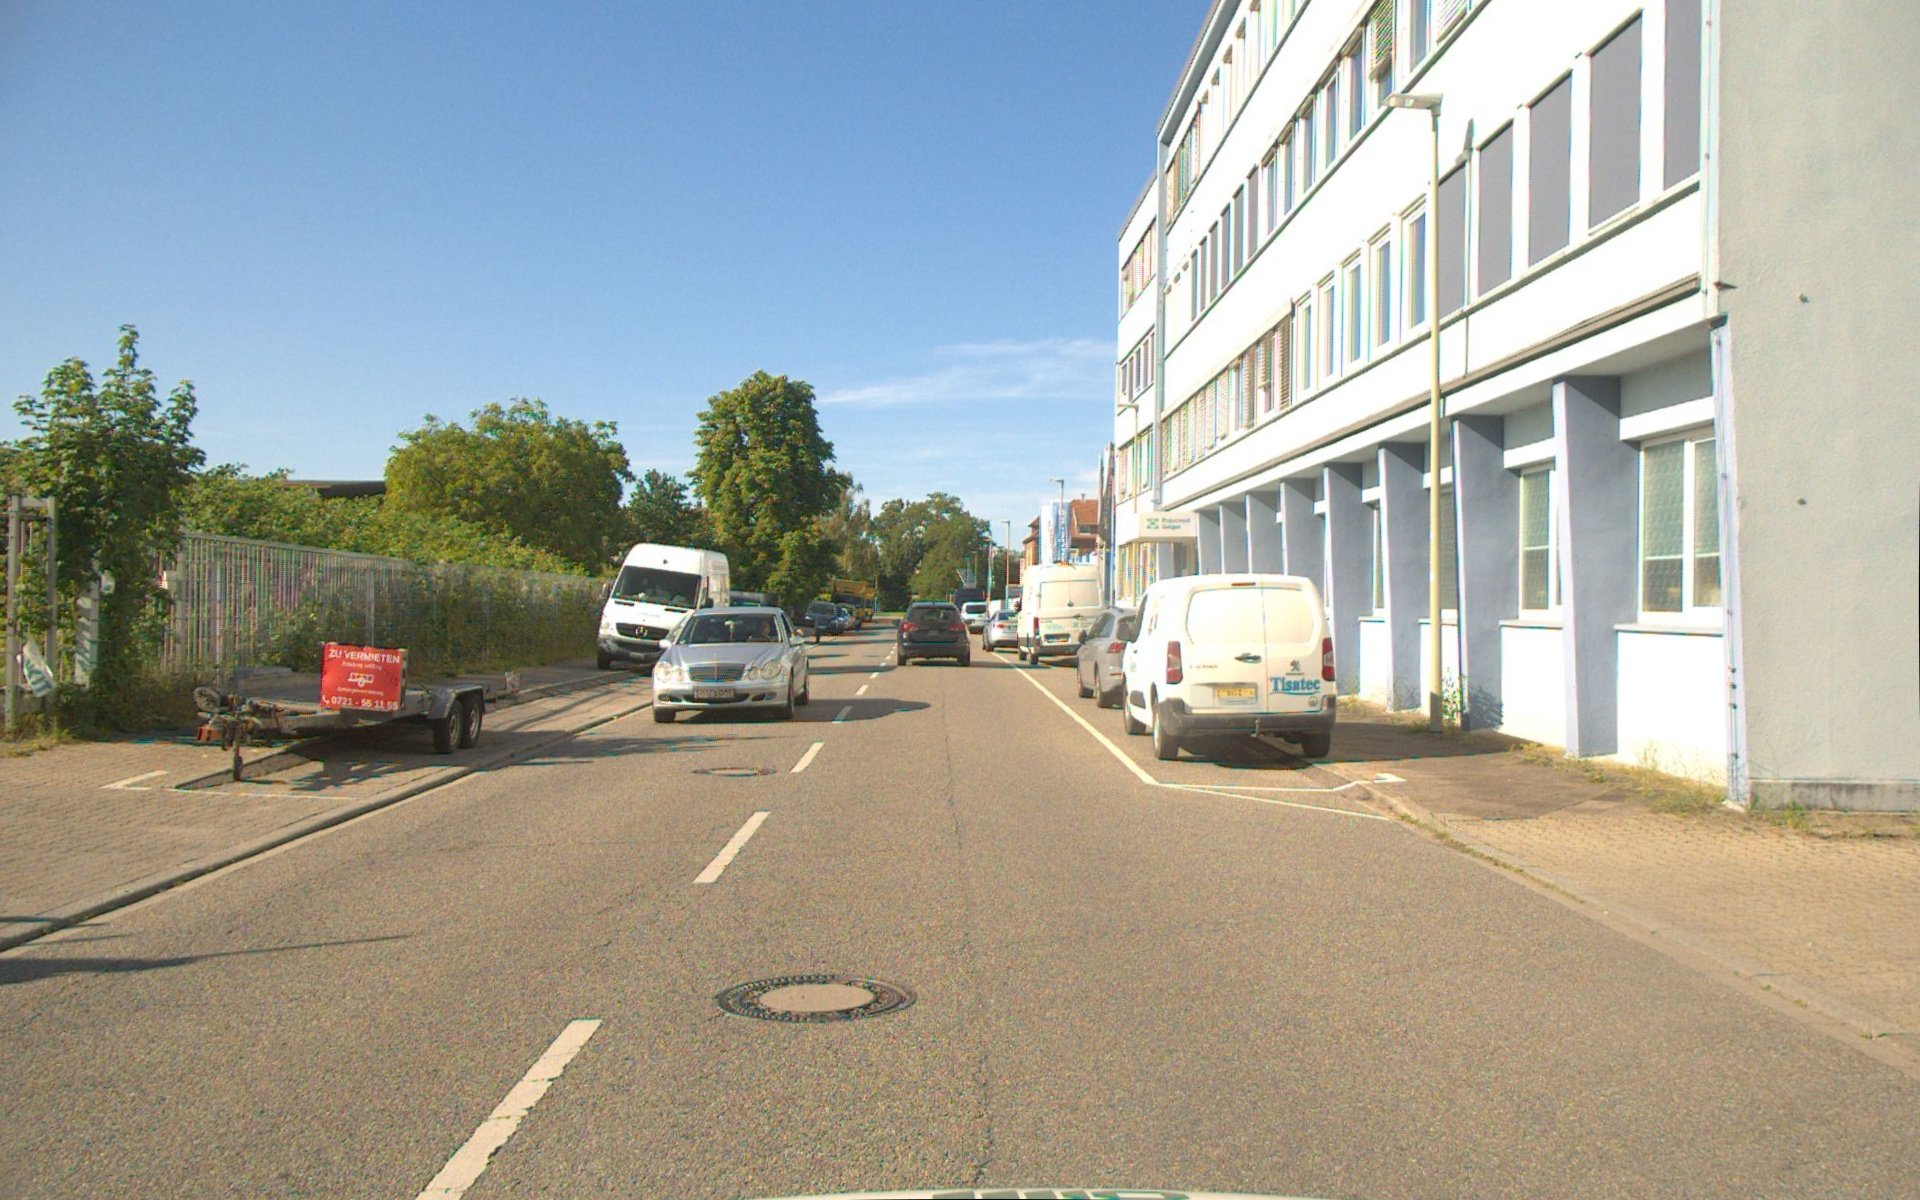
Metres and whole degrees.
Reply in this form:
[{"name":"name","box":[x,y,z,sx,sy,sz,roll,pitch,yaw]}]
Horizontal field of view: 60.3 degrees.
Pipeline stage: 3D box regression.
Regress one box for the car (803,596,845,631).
[{"name":"car","box":[-7.127,0.686,87.099,1.755,1.761,4.802,0,0,0]}]

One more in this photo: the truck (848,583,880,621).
[{"name":"truck","box":[-9.988,0.142,172.336,2.579,3.564,8.655,6,1,-1]}]

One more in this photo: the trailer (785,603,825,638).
[{"name":"trailer","box":[-6.516,0.865,69.732,1.447,1.378,3.077,2,0,-1]}]

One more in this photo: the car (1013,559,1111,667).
[{"name":"car","box":[2.645,0.289,44.217,1.953,2.643,6.048,-1,1,-2]}]

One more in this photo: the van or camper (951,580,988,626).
[{"name":"van or camper","box":[0.597,0.235,106.440,2.097,2.808,6.159,2,-1,-1]}]

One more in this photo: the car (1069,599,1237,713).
[{"name":"car","box":[2.911,0.796,26.002,1.851,1.588,5.088,1,0,-2]}]

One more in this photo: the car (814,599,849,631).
[{"name":"car","box":[-7.653,0.861,98.578,1.871,1.691,4.460,5,0,-4]}]

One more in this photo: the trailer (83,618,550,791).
[{"name":"trailer","box":[-6.017,0.888,16.620,2.328,1.098,6.244,4,1,-2]}]

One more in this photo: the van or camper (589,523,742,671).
[{"name":"van or camper","box":[-6.190,-0.053,35.550,1.926,2.731,5.947,5,0,0]}]

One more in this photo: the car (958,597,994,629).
[{"name":"car","box":[0.947,0.802,100.002,1.848,1.829,5.101,2,-1,-2]}]

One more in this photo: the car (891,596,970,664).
[{"name":"car","box":[-0.694,0.689,40.137,1.809,1.557,3.999,0,0,-1]}]

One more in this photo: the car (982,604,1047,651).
[{"name":"car","box":[1.783,0.914,55.668,1.856,1.430,5.122,2,-1,-2]}]

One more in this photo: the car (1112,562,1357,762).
[{"name":"car","box":[2.846,0.596,18.291,1.850,1.864,5.090,1,0,0]}]

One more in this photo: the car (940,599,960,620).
[{"name":"car","box":[-1.014,0.985,166.470,1.836,2.049,5.159,2,-1,-1]}]

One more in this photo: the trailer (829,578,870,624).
[{"name":"trailer","box":[-8.548,0.099,128.771,2.931,3.503,8.157,1,0,-3]}]

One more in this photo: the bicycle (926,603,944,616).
[{"name":"bicycle","box":[-2.693,1.054,179.123,0.797,1.290,2.230,3,-1,-36]}]

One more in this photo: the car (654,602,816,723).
[{"name":"car","box":[-2.989,0.778,22.743,1.711,1.473,4.359,0,0,-1]}]

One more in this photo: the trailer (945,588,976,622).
[{"name":"trailer","box":[0.021,0.429,136.450,2.410,2.719,5.699,1,0,-2]}]

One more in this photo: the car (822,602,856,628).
[{"name":"car","box":[-8.180,1.000,111.936,1.870,1.620,5.024,5,0,-1]}]
